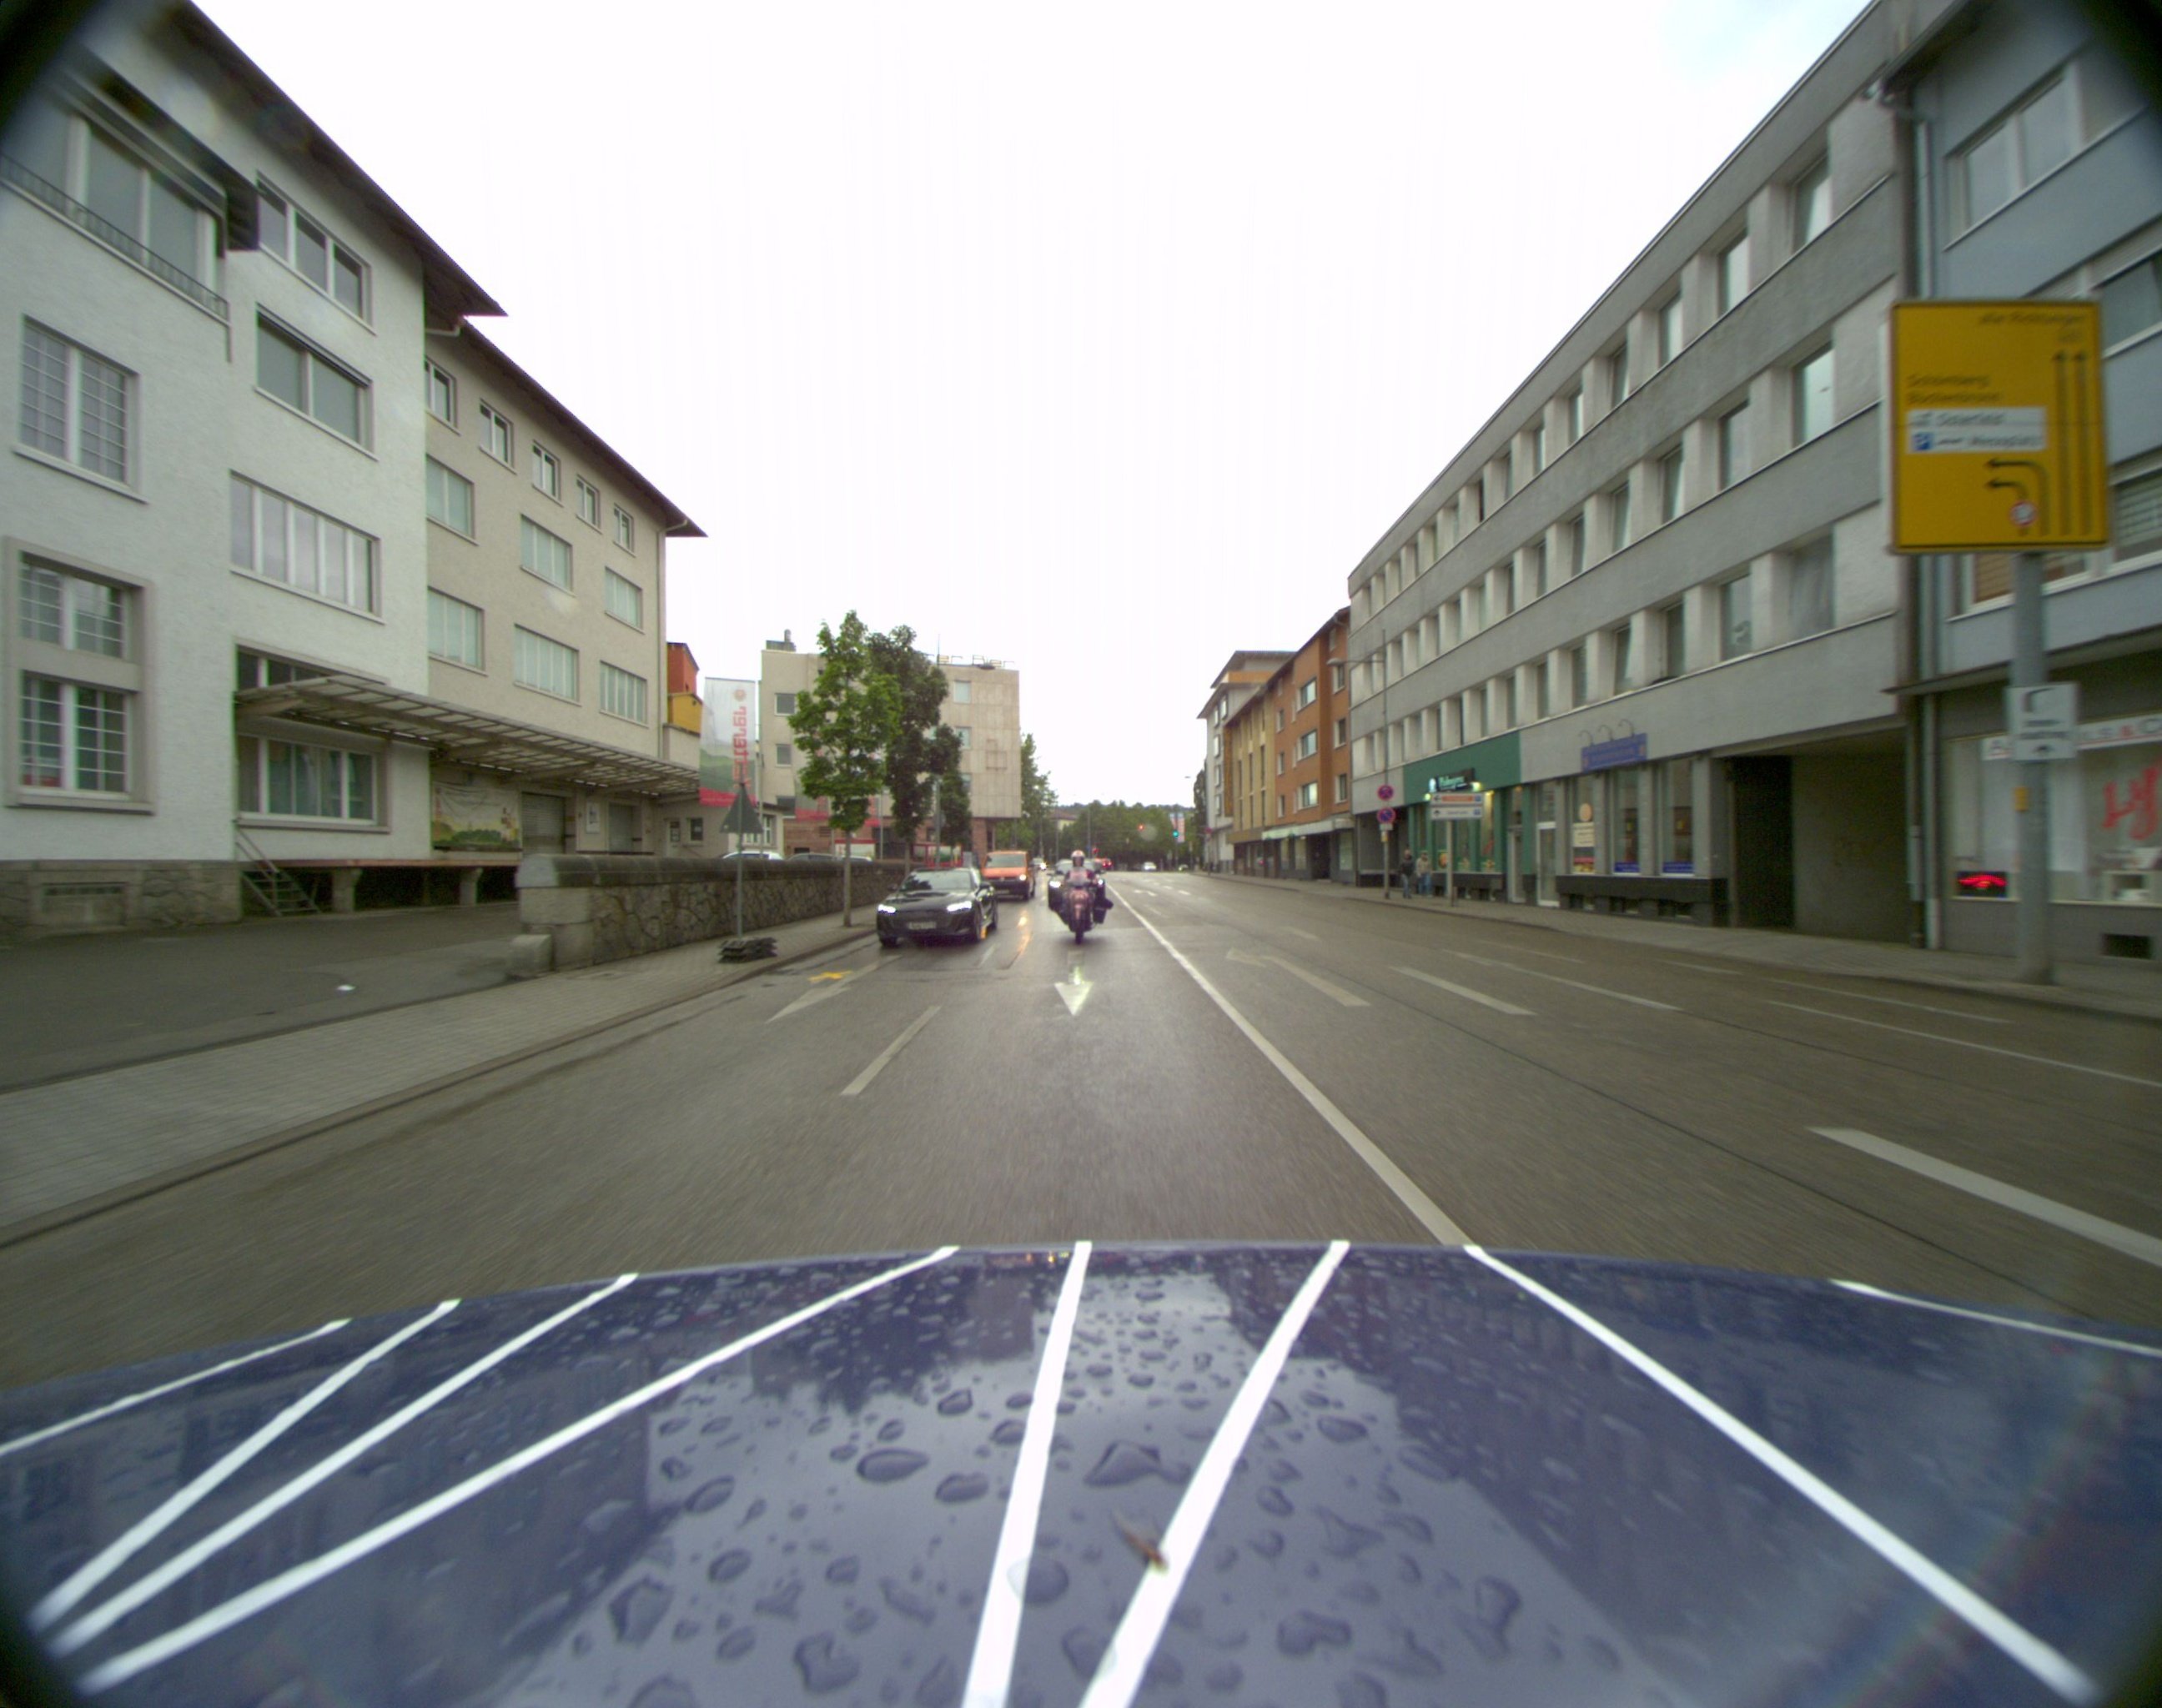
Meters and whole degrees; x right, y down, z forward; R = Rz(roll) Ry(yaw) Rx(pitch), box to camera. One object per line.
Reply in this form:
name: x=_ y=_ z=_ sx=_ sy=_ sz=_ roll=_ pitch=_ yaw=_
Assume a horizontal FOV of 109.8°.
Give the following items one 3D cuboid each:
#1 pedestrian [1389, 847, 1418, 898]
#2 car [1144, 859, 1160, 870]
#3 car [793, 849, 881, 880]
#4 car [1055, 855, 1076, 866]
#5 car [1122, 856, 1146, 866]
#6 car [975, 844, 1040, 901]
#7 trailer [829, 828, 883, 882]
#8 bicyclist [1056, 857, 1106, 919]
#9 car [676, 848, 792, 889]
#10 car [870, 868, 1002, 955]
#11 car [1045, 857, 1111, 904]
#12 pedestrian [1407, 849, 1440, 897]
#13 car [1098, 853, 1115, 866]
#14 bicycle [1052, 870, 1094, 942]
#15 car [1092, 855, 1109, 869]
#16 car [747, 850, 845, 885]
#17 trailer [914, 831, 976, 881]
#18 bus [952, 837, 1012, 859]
pedestrian: x=11.665 y=0.652 z=27.520 sx=0.576 sy=1.778 sz=0.826 roll=-5 pitch=1 yaw=1
car: x=11.001 y=1.633 z=118.424 sx=1.897 sy=1.566 sz=4.360 roll=1 pitch=0 yaw=-2
car: x=-13.596 y=0.608 z=42.444 sx=4.284 sy=1.639 sz=1.863 roll=1 pitch=-1 yaw=-36
car: x=-2.223 y=0.980 z=110.614 sx=1.894 sy=1.479 sz=4.367 roll=1 pitch=0 yaw=15
car: x=11.760 y=1.637 z=168.143 sx=4.839 sy=1.930 sz=1.954 roll=-4 pitch=-2 yaw=30
car: x=-2.884 y=0.682 z=30.973 sx=2.107 sy=2.077 sz=5.541 roll=-1 pitch=0 yaw=-1
trailer: x=-14.662 y=0.061 z=49.263 sx=2.753 sy=3.288 sz=6.061 roll=-1 pitch=0 yaw=-22
bicyclist: x=0.012 y=0.672 z=15.402 sx=0.963 sy=1.219 sz=0.715 roll=-1 pitch=1 yaw=2
car: x=-14.374 y=0.617 z=31.542 sx=3.989 sy=1.558 sz=1.922 roll=1 pitch=-3 yaw=-40
car: x=-2.794 y=1.059 z=15.715 sx=1.794 sy=1.395 sz=4.633 roll=-2 pitch=0 yaw=0
car: x=-0.020 y=0.879 z=27.360 sx=1.896 sy=1.396 sz=4.362 roll=-4 pitch=0 yaw=5
pedestrian: x=12.381 y=0.670 z=27.479 sx=0.631 sy=1.666 sz=0.908 roll=-5 pitch=1 yaw=0
car: x=3.292 y=0.704 z=97.471 sx=1.758 sy=1.605 sz=4.215 roll=1 pitch=-1 yaw=9
bicycle: x=-0.133 y=1.009 z=15.614 sx=0.717 sy=1.298 sz=2.427 roll=-1 pitch=0 yaw=2
car: x=1.988 y=0.787 z=78.682 sx=1.737 sy=1.431 sz=4.413 roll=0 pitch=0 yaw=1
car: x=-13.451 y=0.672 z=35.941 sx=4.008 sy=1.573 sz=1.767 roll=1 pitch=-1 yaw=-35
trailer: x=-9.226 y=0.093 z=51.202 sx=2.640 sy=3.158 sz=5.703 roll=0 pitch=1 yaw=-26
bus: x=-15.896 y=-0.942 z=121.721 sx=9.633 sy=3.197 sz=2.710 roll=1 pitch=-1 yaw=25
